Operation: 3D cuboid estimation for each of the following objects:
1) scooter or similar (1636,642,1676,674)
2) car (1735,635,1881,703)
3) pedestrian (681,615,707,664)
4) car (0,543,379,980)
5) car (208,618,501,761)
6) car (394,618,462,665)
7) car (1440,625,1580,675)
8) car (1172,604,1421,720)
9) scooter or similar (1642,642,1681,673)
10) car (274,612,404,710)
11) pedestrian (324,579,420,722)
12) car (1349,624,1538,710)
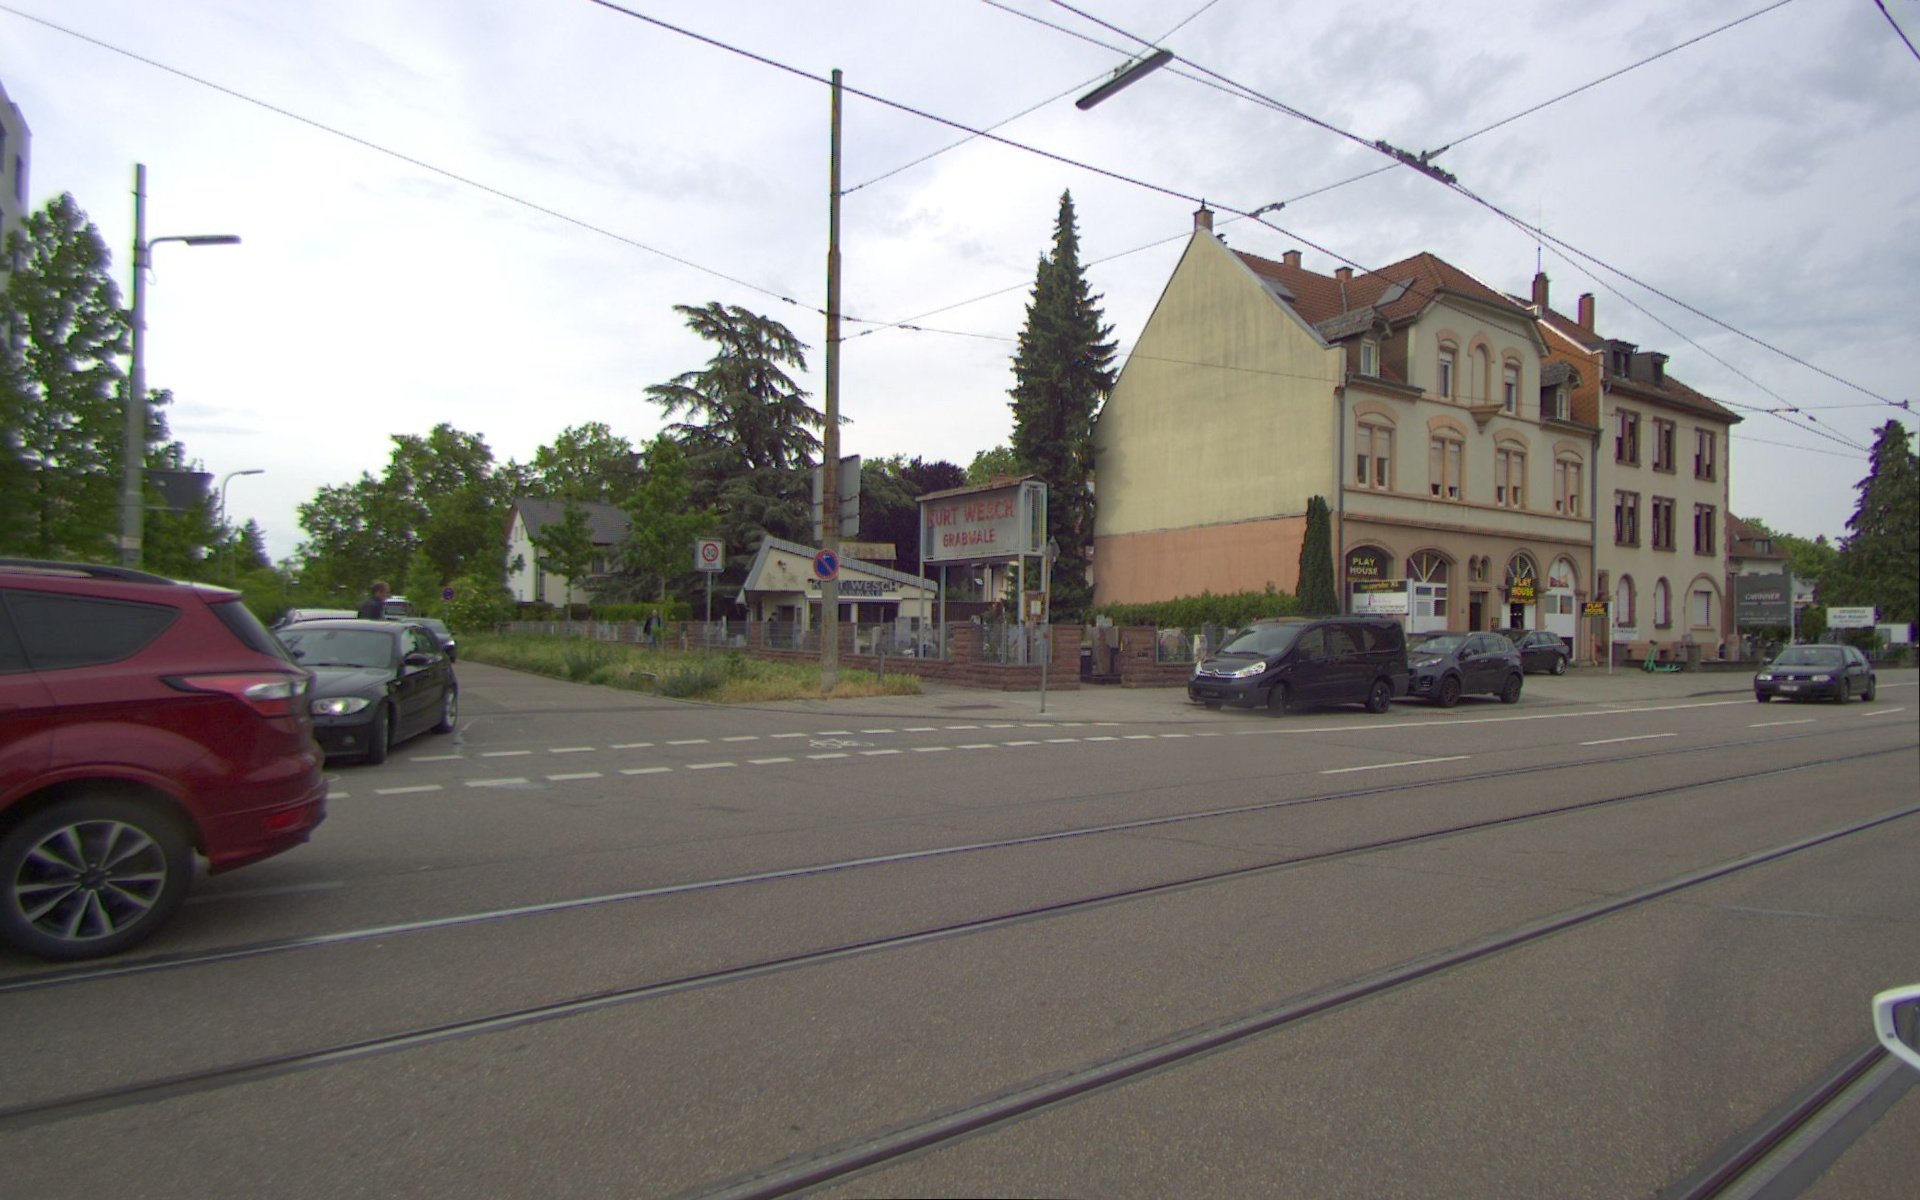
[{"bbox_3d":[26.170,2.176,37.773,1.157,1.116,0.527,1,-1,30],"label":"scooter or similar"},{"bbox_3d":[21.261,1.706,25.148,4.100,1.550,1.779,2,-4,-35],"label":"car"},{"bbox_3d":[-9.866,1.450,37.253,0.752,1.797,0.631,2,-1,-28],"label":"pedestrian"},{"bbox_3d":[-5.086,0.630,4.213,4.368,1.747,1.828,2,-2,-38],"label":"car"},{"bbox_3d":[-7.013,0.947,12.170,1.757,1.387,4.103,2,-1,-12],"label":"car"},{"bbox_3d":[-17.929,1.368,33.780,1.796,1.470,3.954,2,-2,-31],"label":"car"},{"bbox_3d":[18.216,1.650,33.193,4.849,1.512,1.983,2,-1,-32],"label":"car"},{"bbox_3d":[6.847,1.195,20.252,5.130,2.040,1.975,2,0,-33],"label":"car"},{"bbox_3d":[26.766,2.202,38.359,1.157,1.116,0.527,1,-1,30],"label":"scooter or similar"},{"bbox_3d":[-10.723,0.949,17.290,1.707,1.441,3.982,-1,0,-33],"label":"car"},{"bbox_3d":[-7.943,0.674,13.599,1.047,1.849,0.800,2,-1,-30],"label":"pedestrian"},{"bbox_3d":[11.446,1.489,23.701,4.488,1.773,2.024,1,1,-34],"label":"car"}]
